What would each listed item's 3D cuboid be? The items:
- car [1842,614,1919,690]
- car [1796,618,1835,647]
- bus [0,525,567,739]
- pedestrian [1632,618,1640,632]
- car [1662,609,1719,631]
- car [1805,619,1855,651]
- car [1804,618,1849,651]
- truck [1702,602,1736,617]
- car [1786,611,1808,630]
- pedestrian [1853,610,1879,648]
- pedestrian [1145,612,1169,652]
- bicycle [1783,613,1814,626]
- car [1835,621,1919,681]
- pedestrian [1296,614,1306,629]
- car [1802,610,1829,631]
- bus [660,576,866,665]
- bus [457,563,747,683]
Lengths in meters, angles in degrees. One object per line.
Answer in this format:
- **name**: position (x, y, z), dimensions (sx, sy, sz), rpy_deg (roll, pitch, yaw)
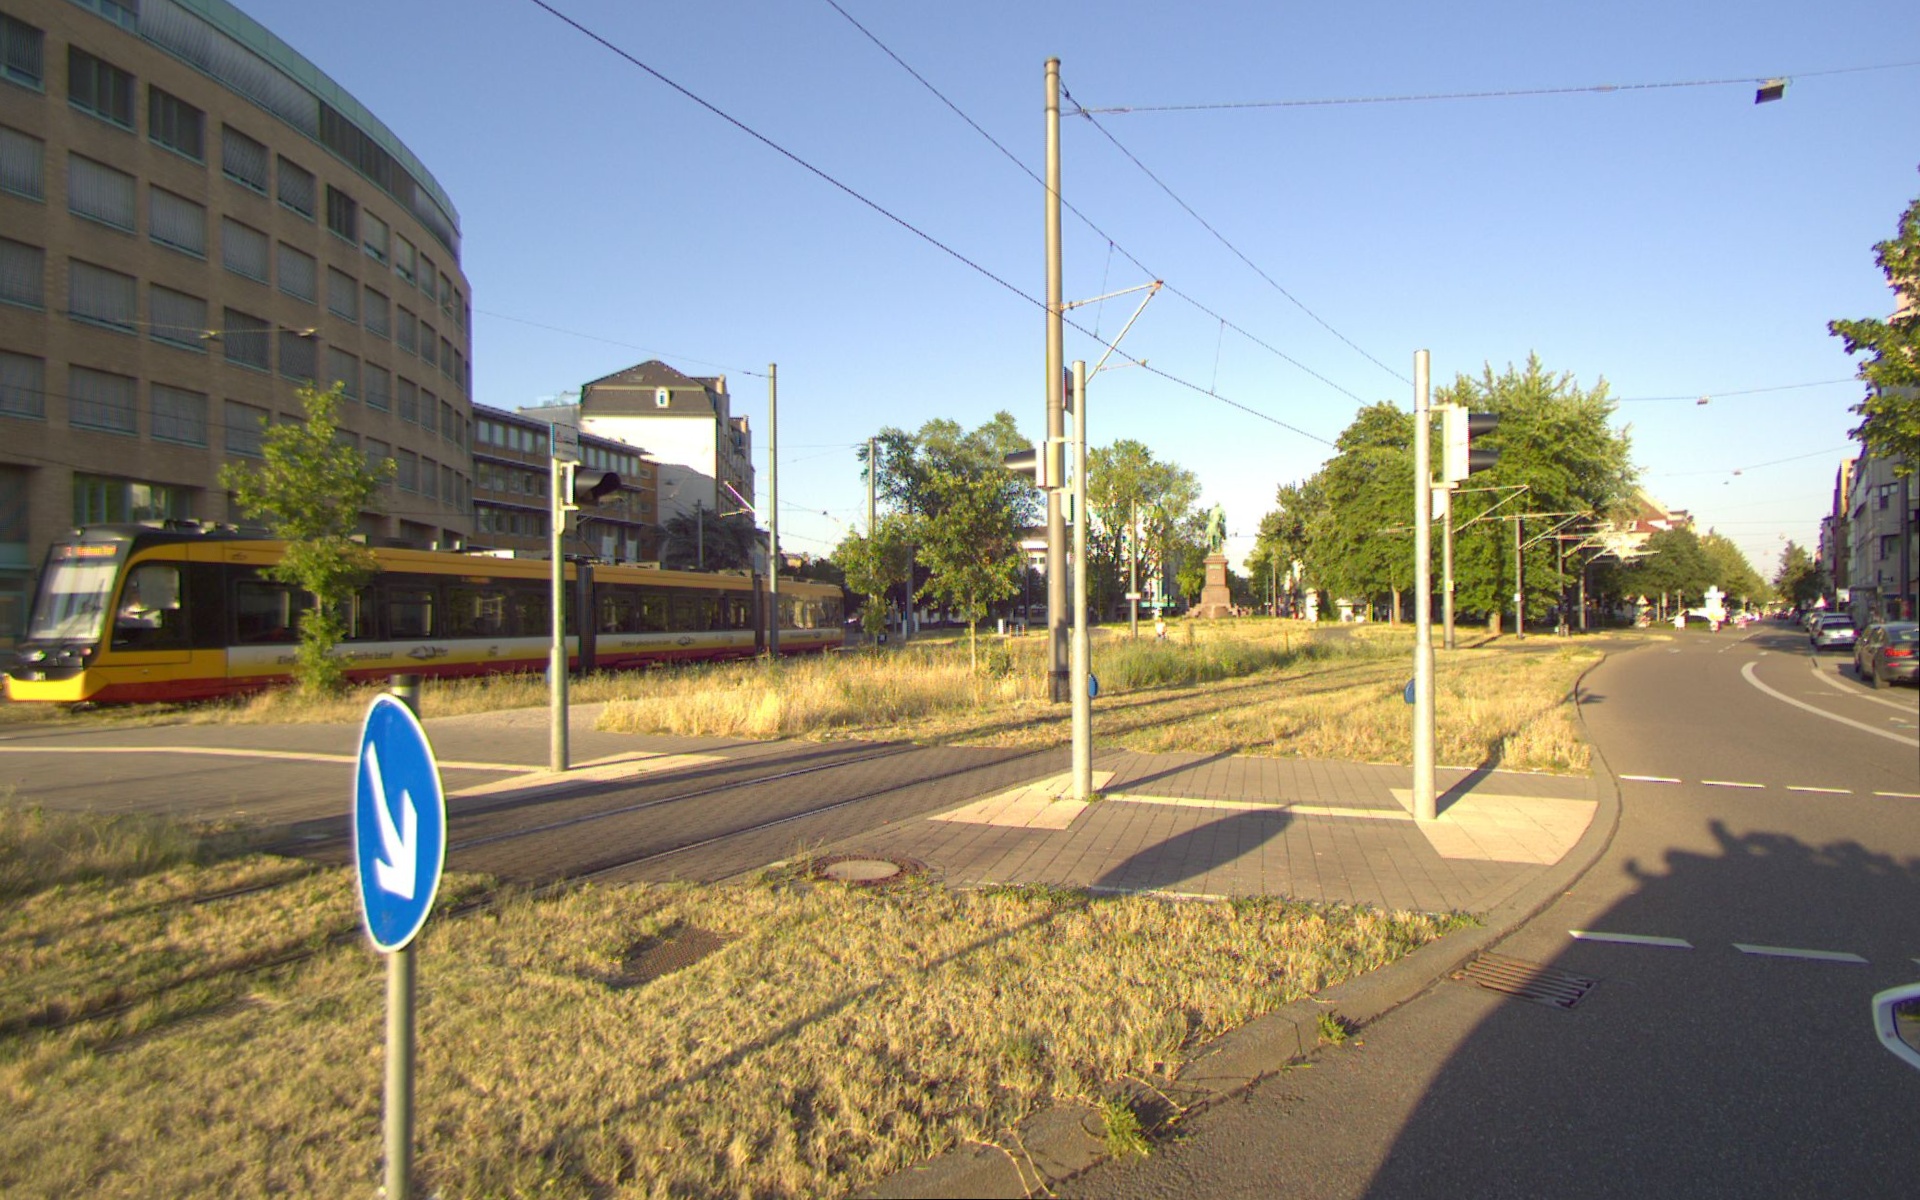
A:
- **car**: position (23.544, 1.237, 25.093), dimensions (1.781, 1.692, 4.795), rpy_deg (0, 0, 36)
- **car**: position (49.032, 1.842, 57.590), dimensions (1.621, 1.549, 3.981), rpy_deg (0, 0, 40)
- **bus**: position (-14.373, 0.542, 22.757), dimensions (3.685, 3.502, 12.137), rpy_deg (0, 0, 15)
- **pedestrian**: position (68.601, 2.517, 101.926), dimensions (0.608, 1.382, 0.559), rpy_deg (0, 0, -34)
- **car**: position (79.418, 2.124, 109.269), dimensions (4.520, 2.281, 2.204), rpy_deg (1, 0, 13)
- **car**: position (42.240, 1.672, 48.819), dimensions (1.764, 1.475, 3.980), rpy_deg (-1, -1, 41)
- **car**: position (45.430, 1.759, 52.719), dimensions (1.565, 1.612, 3.653), rpy_deg (1, 0, 38)
- **truck**: position (139.425, 1.698, 184.591), dimensions (4.882, 2.650, 1.991), rpy_deg (-1, -1, 40)
- **car**: position (86.686, 2.123, 103.985), dimensions (1.690, 1.859, 4.285), rpy_deg (1, 0, 40)
- **pedestrian**: position (43.993, 1.388, 48.773), dimensions (0.628, 1.810, 0.857), rpy_deg (0, 0, 16)
- **pedestrian**: position (7.542, 1.216, 38.477), dimensions (0.661, 1.478, 0.697), rpy_deg (1, 0, 36)
- **bicycle**: position (67.538, 1.575, 80.931), dimensions (0.537, 1.003, 1.775), rpy_deg (-2, -2, -37)
- **car**: position (26.625, 1.415, 29.139), dimensions (1.630, 1.555, 4.049), rpy_deg (0, 0, 38)
- **pedestrian**: position (42.268, 2.654, 124.567), dimensions (0.851, 1.865, 0.991), rpy_deg (1, 2, 40)
- **car**: position (76.149, 1.832, 89.446), dimensions (1.771, 1.815, 4.073), rpy_deg (-1, -1, 39)
- **bus**: position (-8.316, 0.793, 45.623), dimensions (3.685, 3.407, 13.720), rpy_deg (0, 0, 14)
- **bus**: position (-11.379, 0.656, 33.827), dimensions (3.685, 3.376, 10.741), rpy_deg (0, 0, 15)
